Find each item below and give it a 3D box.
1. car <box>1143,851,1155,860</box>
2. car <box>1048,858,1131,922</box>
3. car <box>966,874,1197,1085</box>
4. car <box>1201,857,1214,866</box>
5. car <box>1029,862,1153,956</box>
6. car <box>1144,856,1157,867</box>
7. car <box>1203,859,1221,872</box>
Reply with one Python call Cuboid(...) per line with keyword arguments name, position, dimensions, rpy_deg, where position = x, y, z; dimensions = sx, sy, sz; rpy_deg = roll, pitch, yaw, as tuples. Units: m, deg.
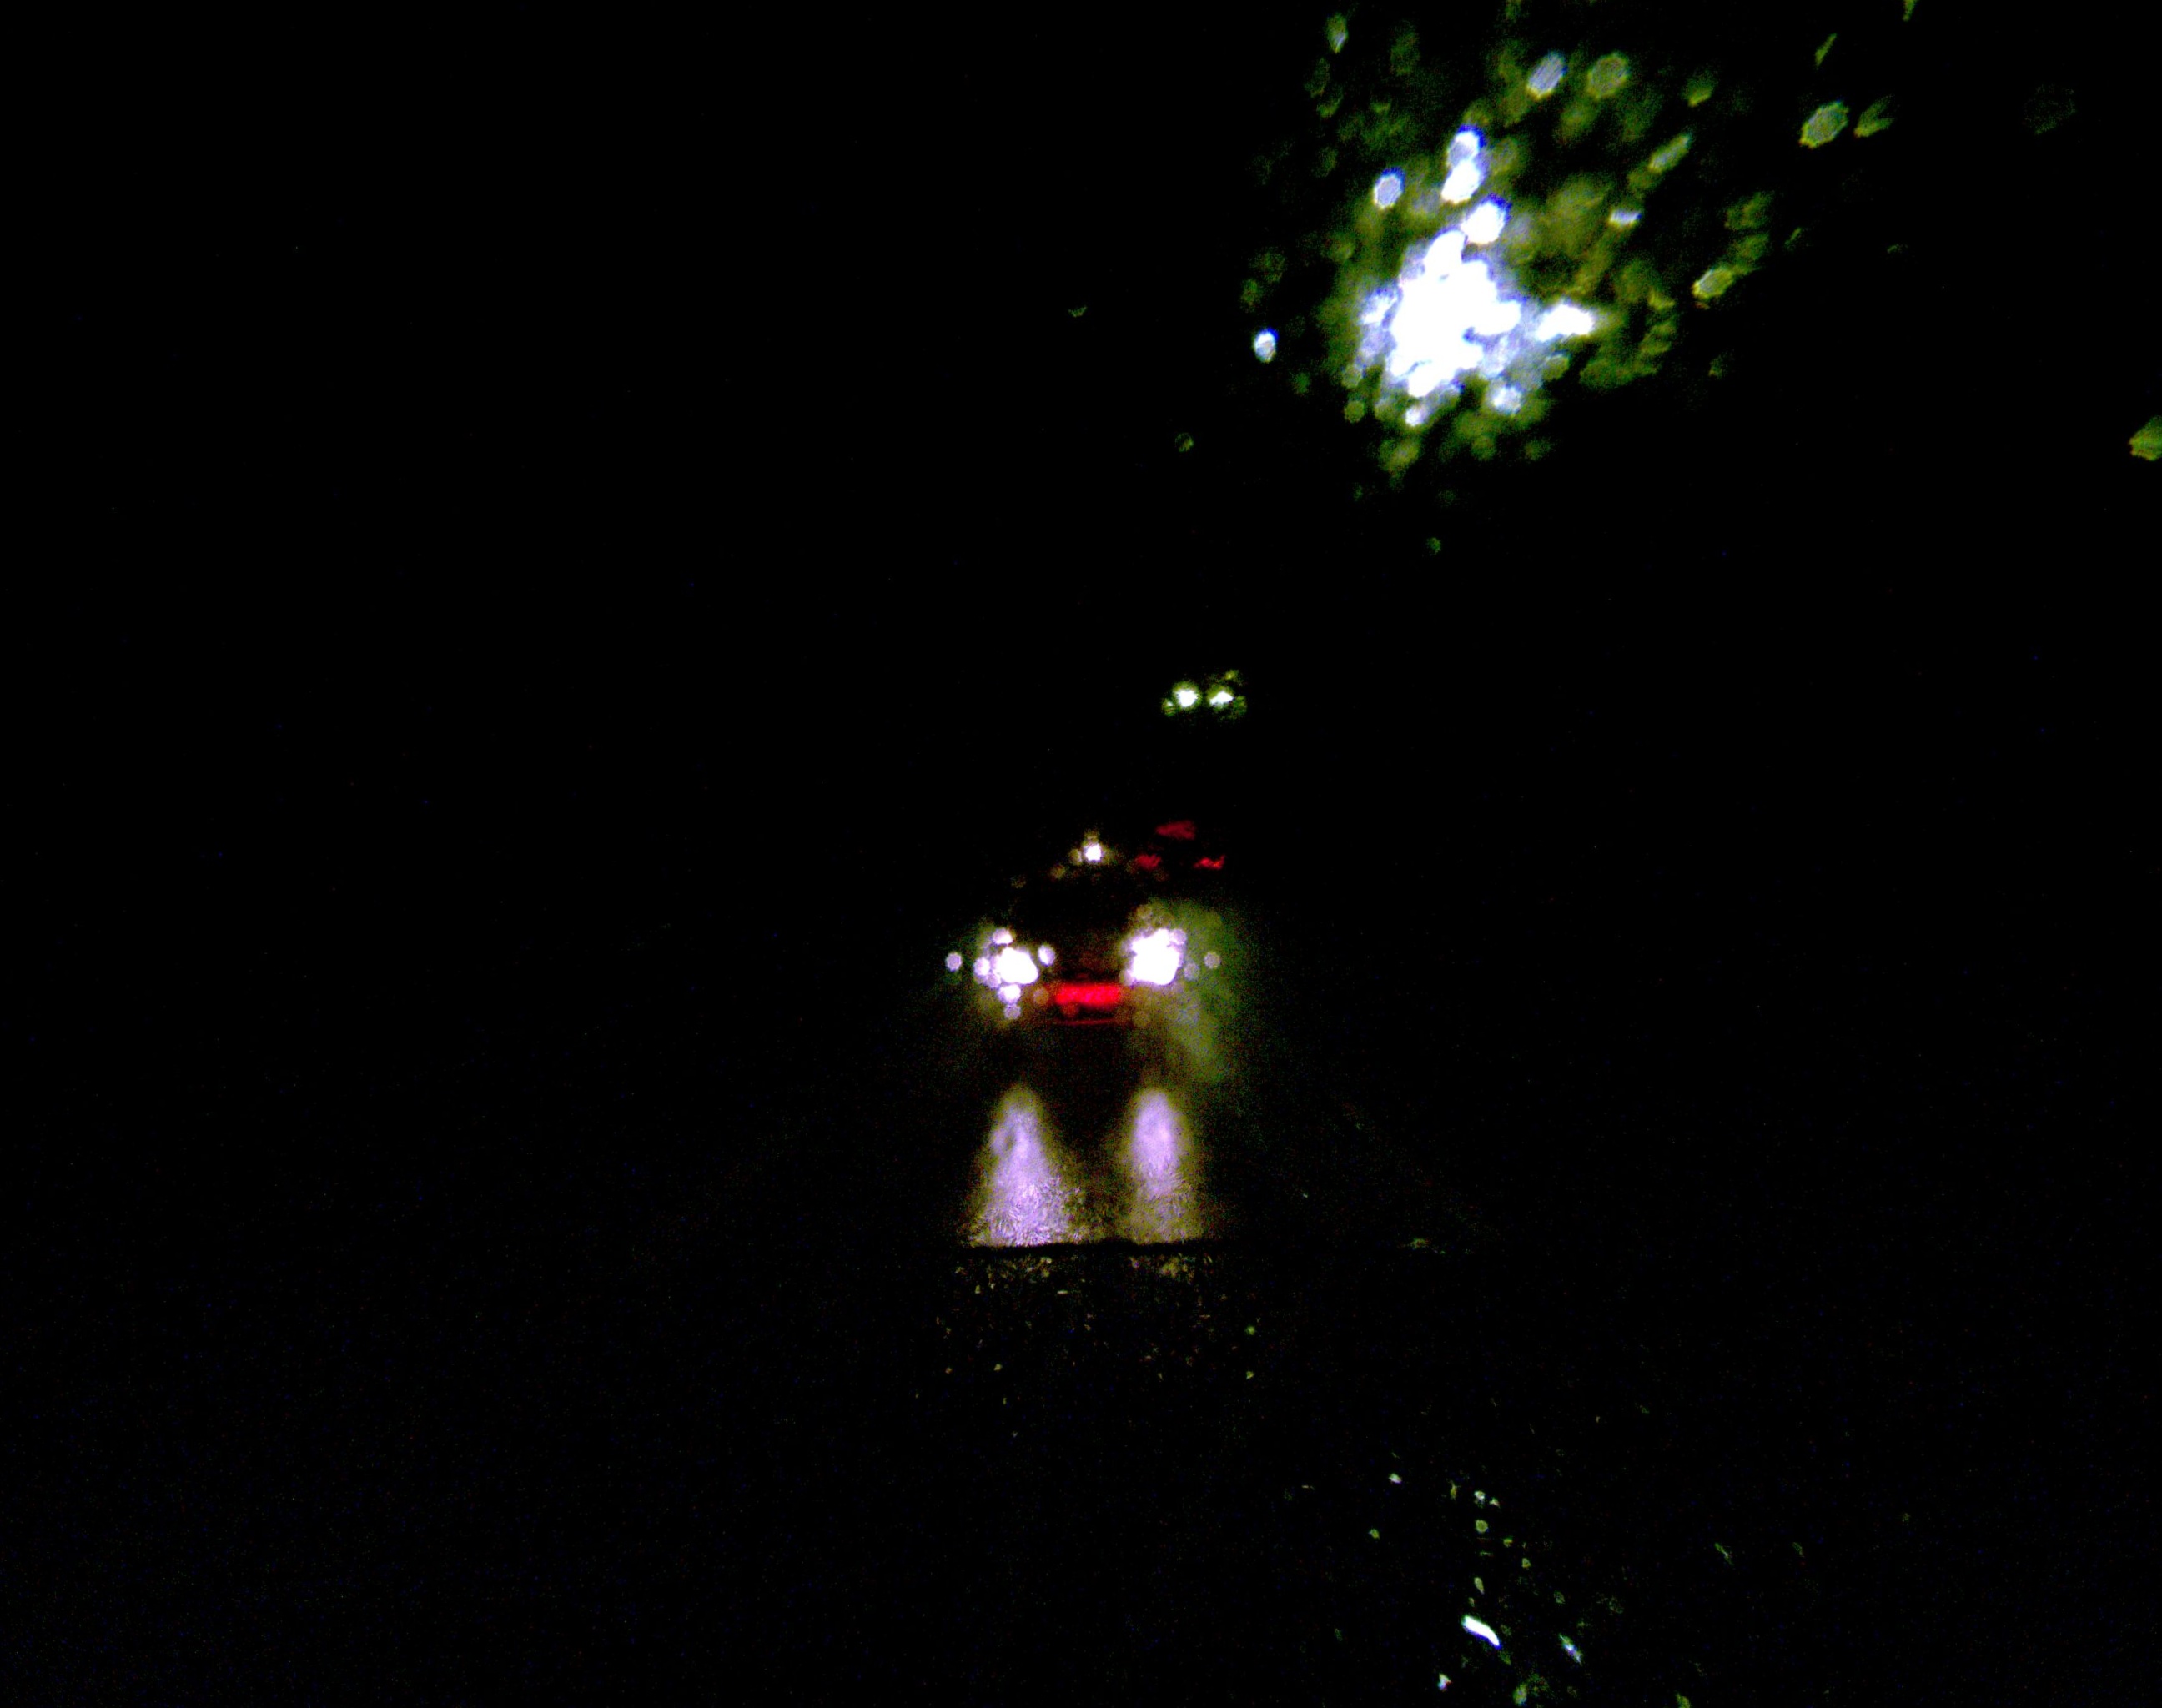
Cuboid(name="car", position=(12.773, 0.257, 143.602), dimensions=(1.788, 1.637, 3.999), rpy_deg=(-2, 0, -1))
Cuboid(name="car", position=(0.236, 0.898, 20.639), dimensions=(1.998, 1.531, 4.000), rpy_deg=(-1, 0, 1))
Cuboid(name="car", position=(0.031, 1.037, 7.926), dimensions=(1.764, 1.492, 4.000), rpy_deg=(-2, 0, 1))
Cuboid(name="car", position=(23.701, 1.376, 141.949), dimensions=(1.817, 1.637, 4.000), rpy_deg=(-2, 0, 2))
Cuboid(name="car", position=(0.192, 0.924, 14.388), dimensions=(1.998, 1.455, 4.000), rpy_deg=(-1, 0, 1))
Cuboid(name="car", position=(11.701, 1.250, 127.593), dimensions=(1.788, 1.637, 4.000), rpy_deg=(-2, 0, 0))
Cuboid(name="car", position=(18.111, 1.532, 105.044), dimensions=(1.866, 1.637, 4.001), rpy_deg=(-2, 0, 2))
